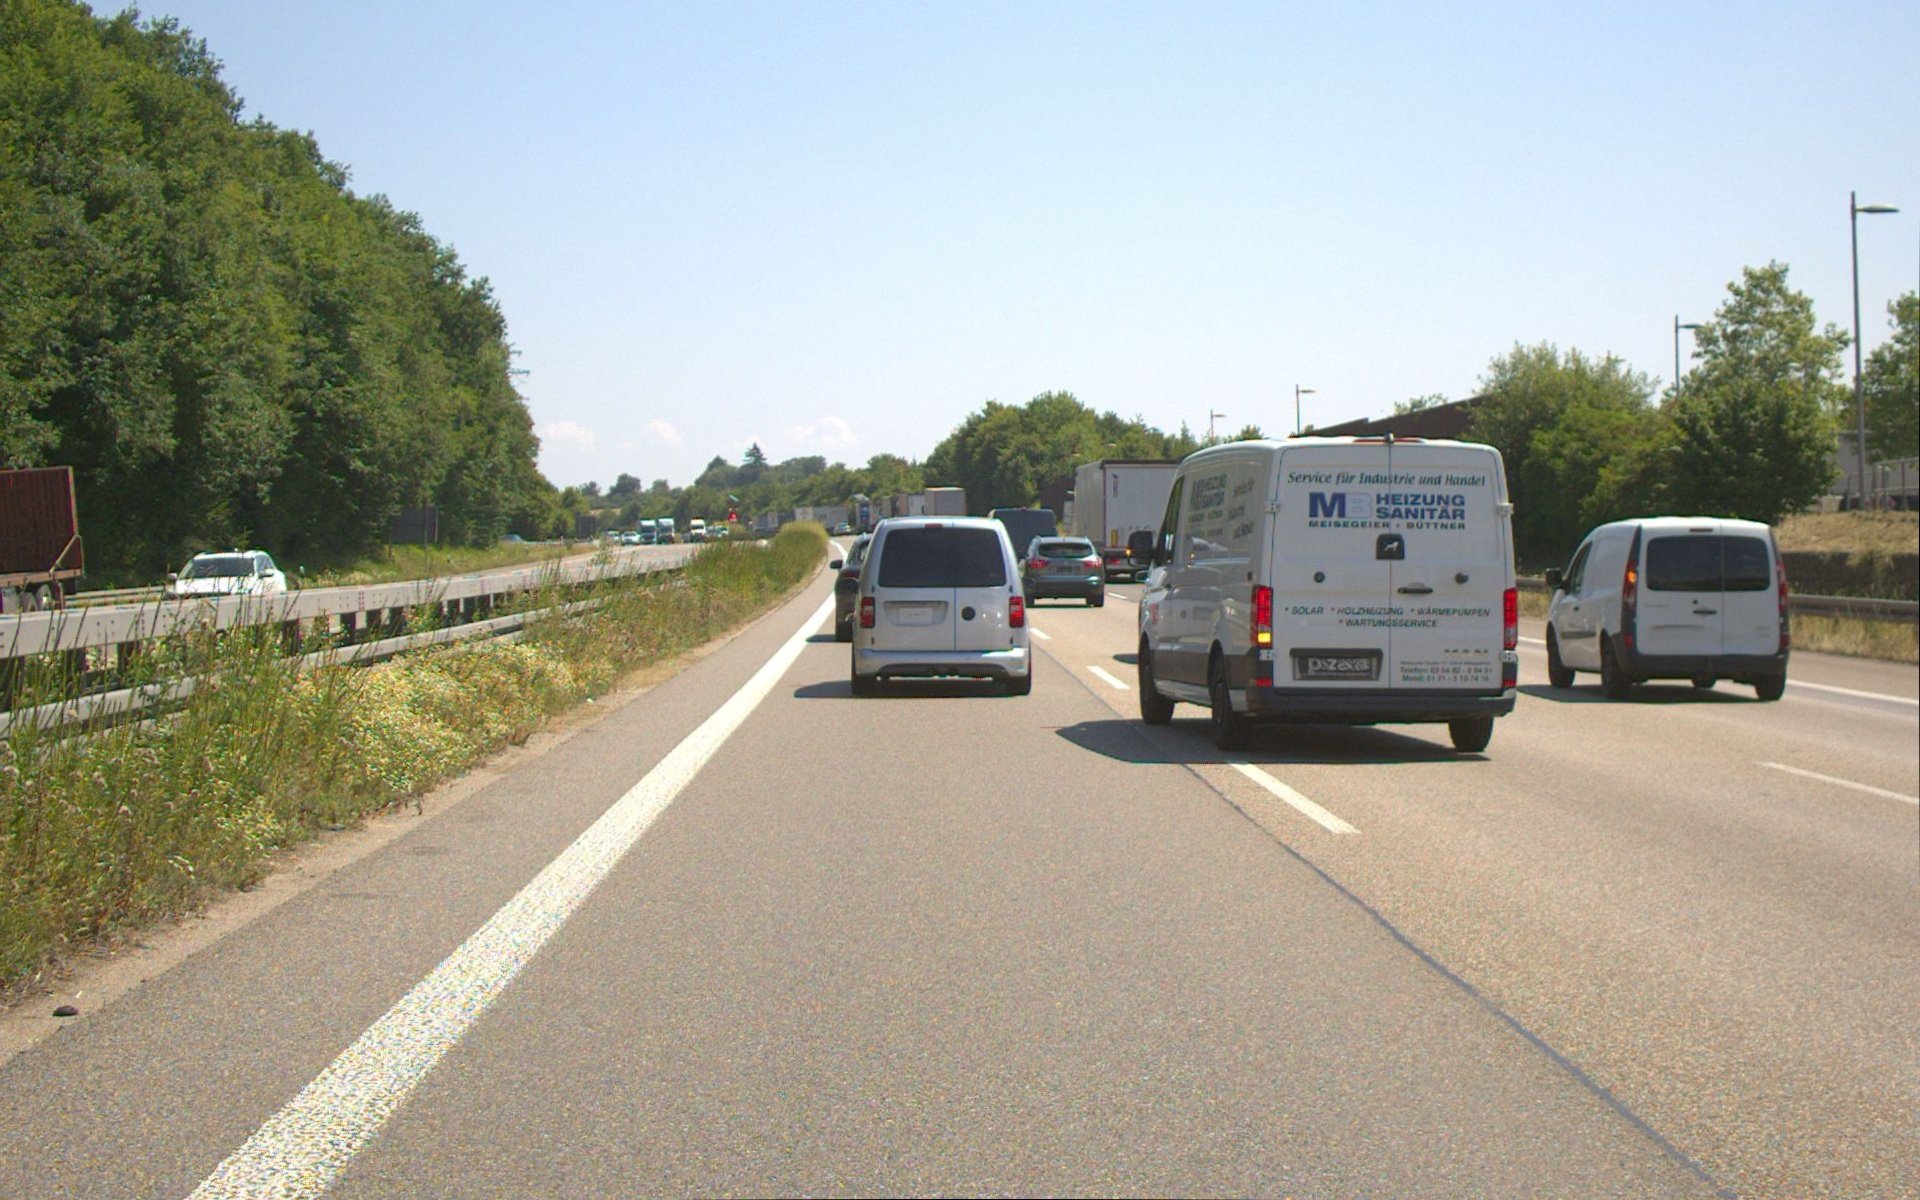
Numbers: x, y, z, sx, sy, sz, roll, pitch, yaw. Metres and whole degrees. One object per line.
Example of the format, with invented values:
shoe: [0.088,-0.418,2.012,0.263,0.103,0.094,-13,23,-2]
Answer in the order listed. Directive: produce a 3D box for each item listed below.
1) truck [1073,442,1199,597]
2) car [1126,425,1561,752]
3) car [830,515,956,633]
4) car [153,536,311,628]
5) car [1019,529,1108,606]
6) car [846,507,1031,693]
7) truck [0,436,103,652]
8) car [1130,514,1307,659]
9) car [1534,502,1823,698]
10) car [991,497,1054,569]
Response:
truck: [5.927,-2.695,118.126,3.788,4.982,12.518,1,1,1]
car: [2.786,-0.110,26.416,2.181,2.246,5.364,0,1,-6]
car: [-0.989,-0.413,52.551,1.745,1.695,4.088,-1,1,1]
car: [-14.464,-0.379,68.645,1.993,1.665,5.612,-3,1,-1]
car: [2.322,-0.738,77.670,1.902,1.666,4.088,-1,1,1]
car: [-0.184,-0.025,35.075,1.745,1.758,4.088,-1,1,1]
truck: [-18.004,-0.999,61.451,2.782,3.726,11.159,1,1,-1]
car: [3.256,-0.192,43.975,1.976,1.727,4.088,-1,1,1]
car: [7.220,-0.027,34.964,1.950,1.831,4.179,-1,1,-1]
car: [1.708,-1.833,94.654,1.674,1.885,4.088,-1,1,1]
